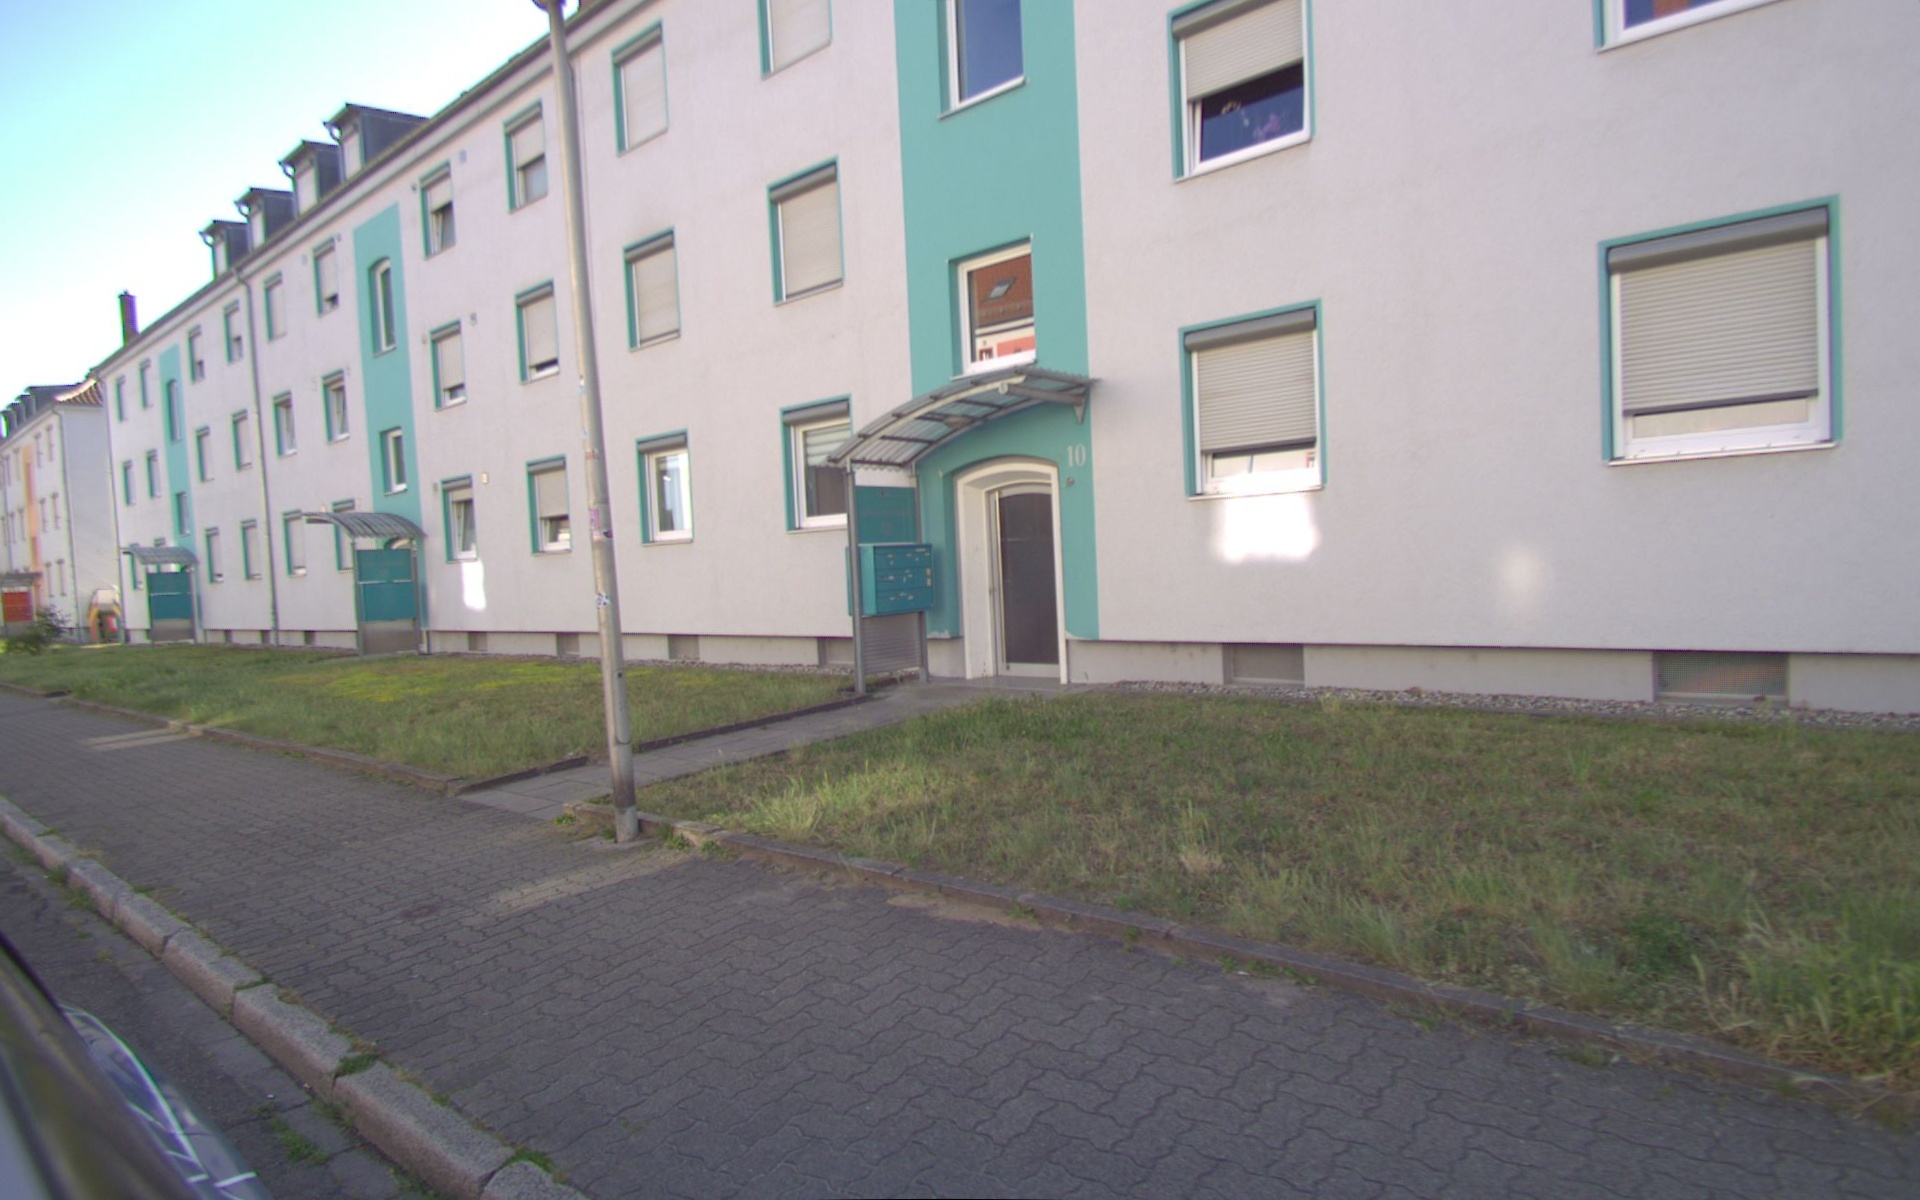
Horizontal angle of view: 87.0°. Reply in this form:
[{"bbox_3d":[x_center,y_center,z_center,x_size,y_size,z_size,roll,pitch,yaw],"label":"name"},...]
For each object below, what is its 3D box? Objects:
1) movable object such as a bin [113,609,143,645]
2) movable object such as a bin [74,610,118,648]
[{"bbox_3d":[-33.863,1.103,41.191,0.762,1.403,0.744,-2,2,39],"label":"movable object such as a bin"},{"bbox_3d":[-34.487,1.160,40.398,0.876,1.403,1.153,-2,2,39],"label":"movable object such as a bin"}]
